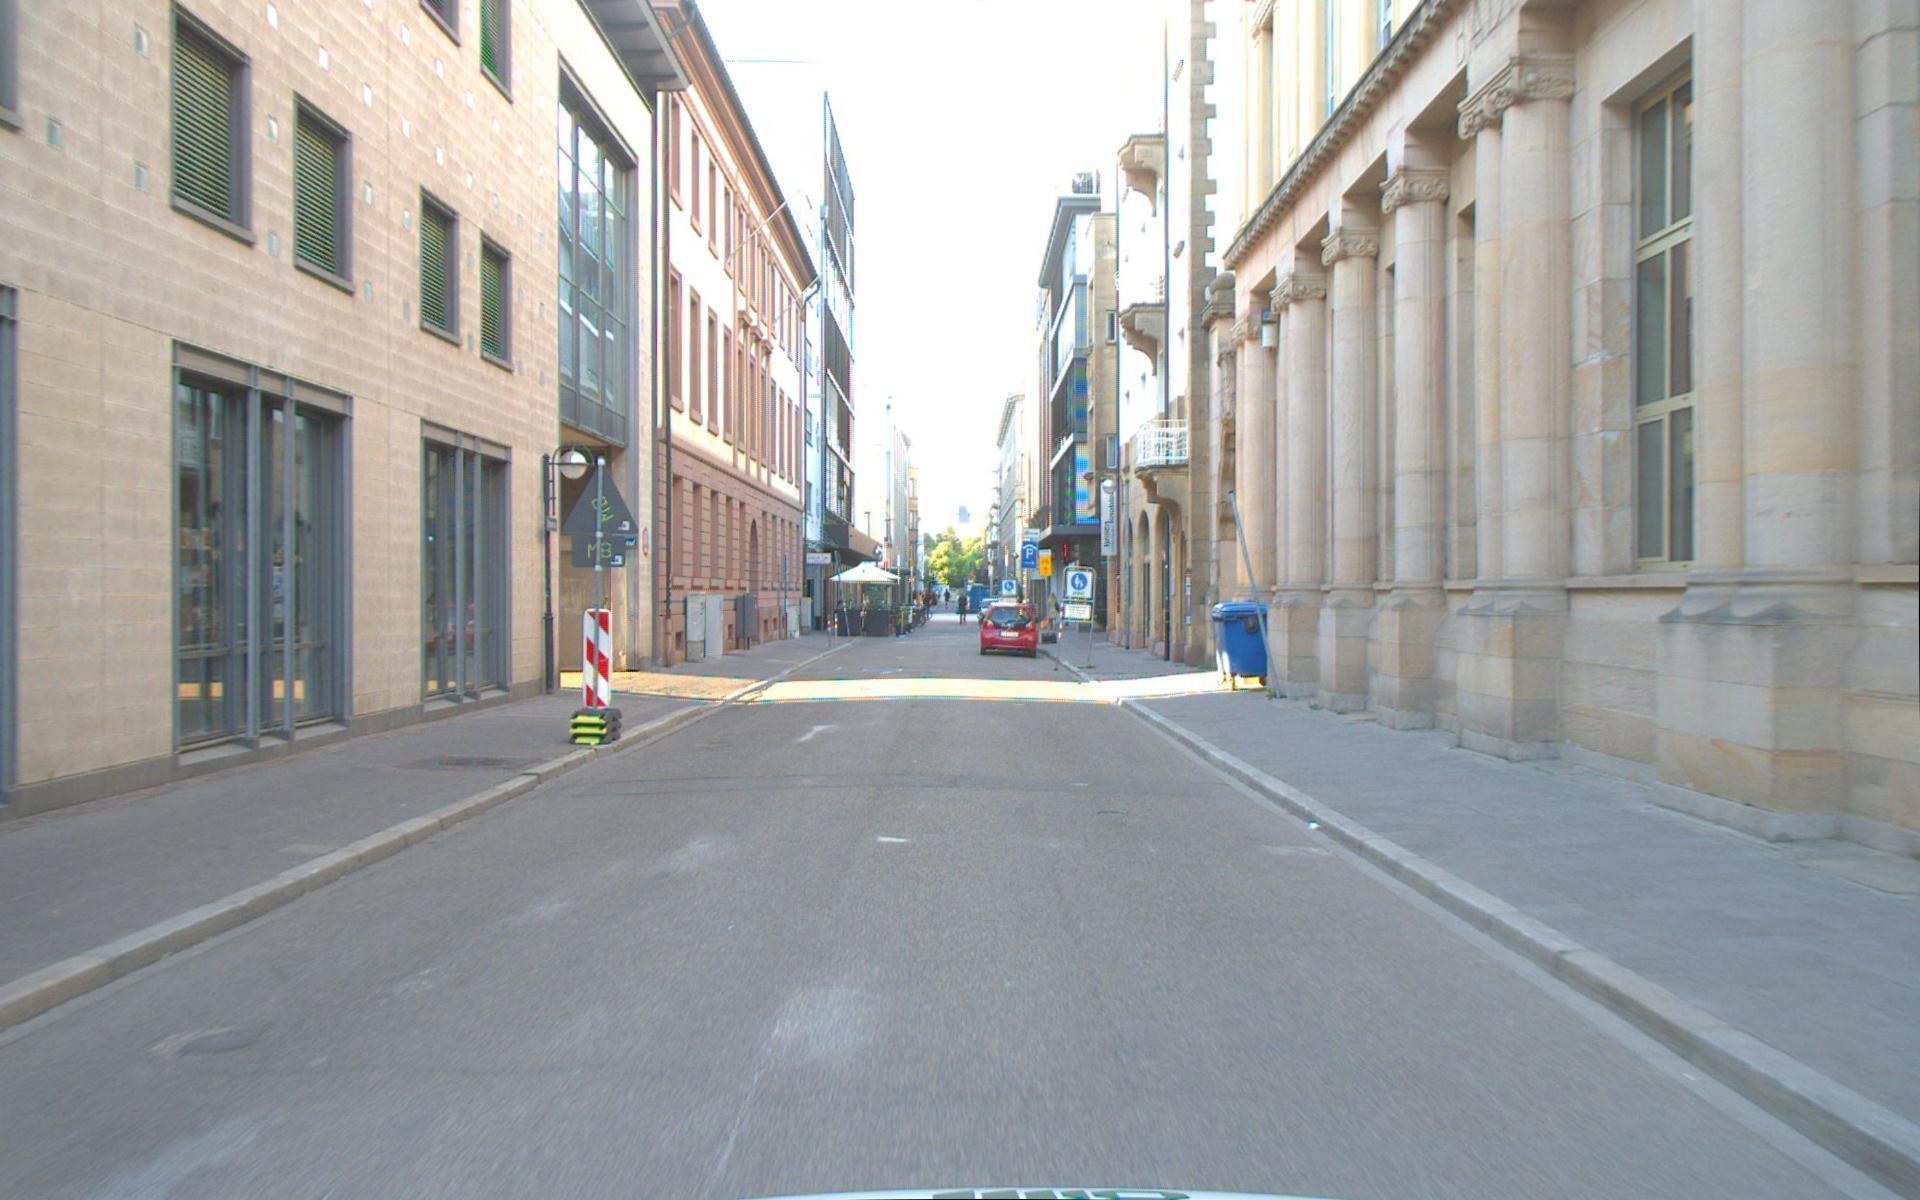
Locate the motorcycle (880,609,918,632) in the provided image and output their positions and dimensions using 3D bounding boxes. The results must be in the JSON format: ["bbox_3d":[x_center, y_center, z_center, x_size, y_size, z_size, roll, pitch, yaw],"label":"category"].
[{"bbox_3d":[-2.919,0.974,79.027,1.766,1.059,0.493,0,0,-4],"label":"motorcycle"}]

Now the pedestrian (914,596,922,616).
[{"bbox_3d":[-3.491,0.480,138.081,0.664,1.651,0.626,0,0,2],"label":"pedestrian"}]

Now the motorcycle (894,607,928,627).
[{"bbox_3d":[-2.629,0.908,88.247,1.766,1.007,0.560,0,0,-4],"label":"motorcycle"}]

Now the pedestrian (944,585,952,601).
[{"bbox_3d":[-1.248,-0.732,174.171,0.788,1.702,0.888,0,0,2],"label":"pedestrian"}]

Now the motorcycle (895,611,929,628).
[{"bbox_3d":[-2.556,1.045,87.217,1.766,0.891,0.560,0,0,-4],"label":"motorcycle"}]

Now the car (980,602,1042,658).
[{"bbox_3d":[1.424,0.829,47.356,1.616,1.452,3.535,3,0,0],"label":"car"}]

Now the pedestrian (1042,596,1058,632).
[{"bbox_3d":[3.874,0.603,71.256,0.643,1.514,0.493,0,0,2],"label":"pedestrian"}]

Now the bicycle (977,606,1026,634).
[{"bbox_3d":[1.737,0.839,69.200,2.011,1.154,0.649,0,0,-4],"label":"bicycle"}]

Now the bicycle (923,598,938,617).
[{"bbox_3d":[-1.886,0.484,104.534,0.624,1.177,2.496,-1,0,-9],"label":"bicycle"}]

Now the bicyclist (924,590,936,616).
[{"bbox_3d":[-1.884,0.186,104.484,0.624,1.669,0.770,-1,0,-9],"label":"bicyclist"}]

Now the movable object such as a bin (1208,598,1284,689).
[{"bbox_3d":[4.567,0.677,26.474,0.970,1.416,1.240,-1,0,-1],"label":"movable object such as a bin"}]

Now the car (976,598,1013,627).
[{"bbox_3d":[1.988,0.728,96.907,1.953,1.639,3.999,0,0,-2],"label":"car"}]

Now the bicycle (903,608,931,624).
[{"bbox_3d":[-2.439,0.919,94.070,1.501,0.912,0.481,0,0,-28],"label":"bicycle"}]

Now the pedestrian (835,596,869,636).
[{"bbox_3d":[-4.116,0.599,63.182,1.264,1.514,0.661,0,0,-2],"label":"pedestrian"}]

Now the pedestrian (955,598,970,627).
[{"bbox_3d":[0.166,0.735,98.185,0.848,1.743,0.852,0,0,-1],"label":"pedestrian"}]
